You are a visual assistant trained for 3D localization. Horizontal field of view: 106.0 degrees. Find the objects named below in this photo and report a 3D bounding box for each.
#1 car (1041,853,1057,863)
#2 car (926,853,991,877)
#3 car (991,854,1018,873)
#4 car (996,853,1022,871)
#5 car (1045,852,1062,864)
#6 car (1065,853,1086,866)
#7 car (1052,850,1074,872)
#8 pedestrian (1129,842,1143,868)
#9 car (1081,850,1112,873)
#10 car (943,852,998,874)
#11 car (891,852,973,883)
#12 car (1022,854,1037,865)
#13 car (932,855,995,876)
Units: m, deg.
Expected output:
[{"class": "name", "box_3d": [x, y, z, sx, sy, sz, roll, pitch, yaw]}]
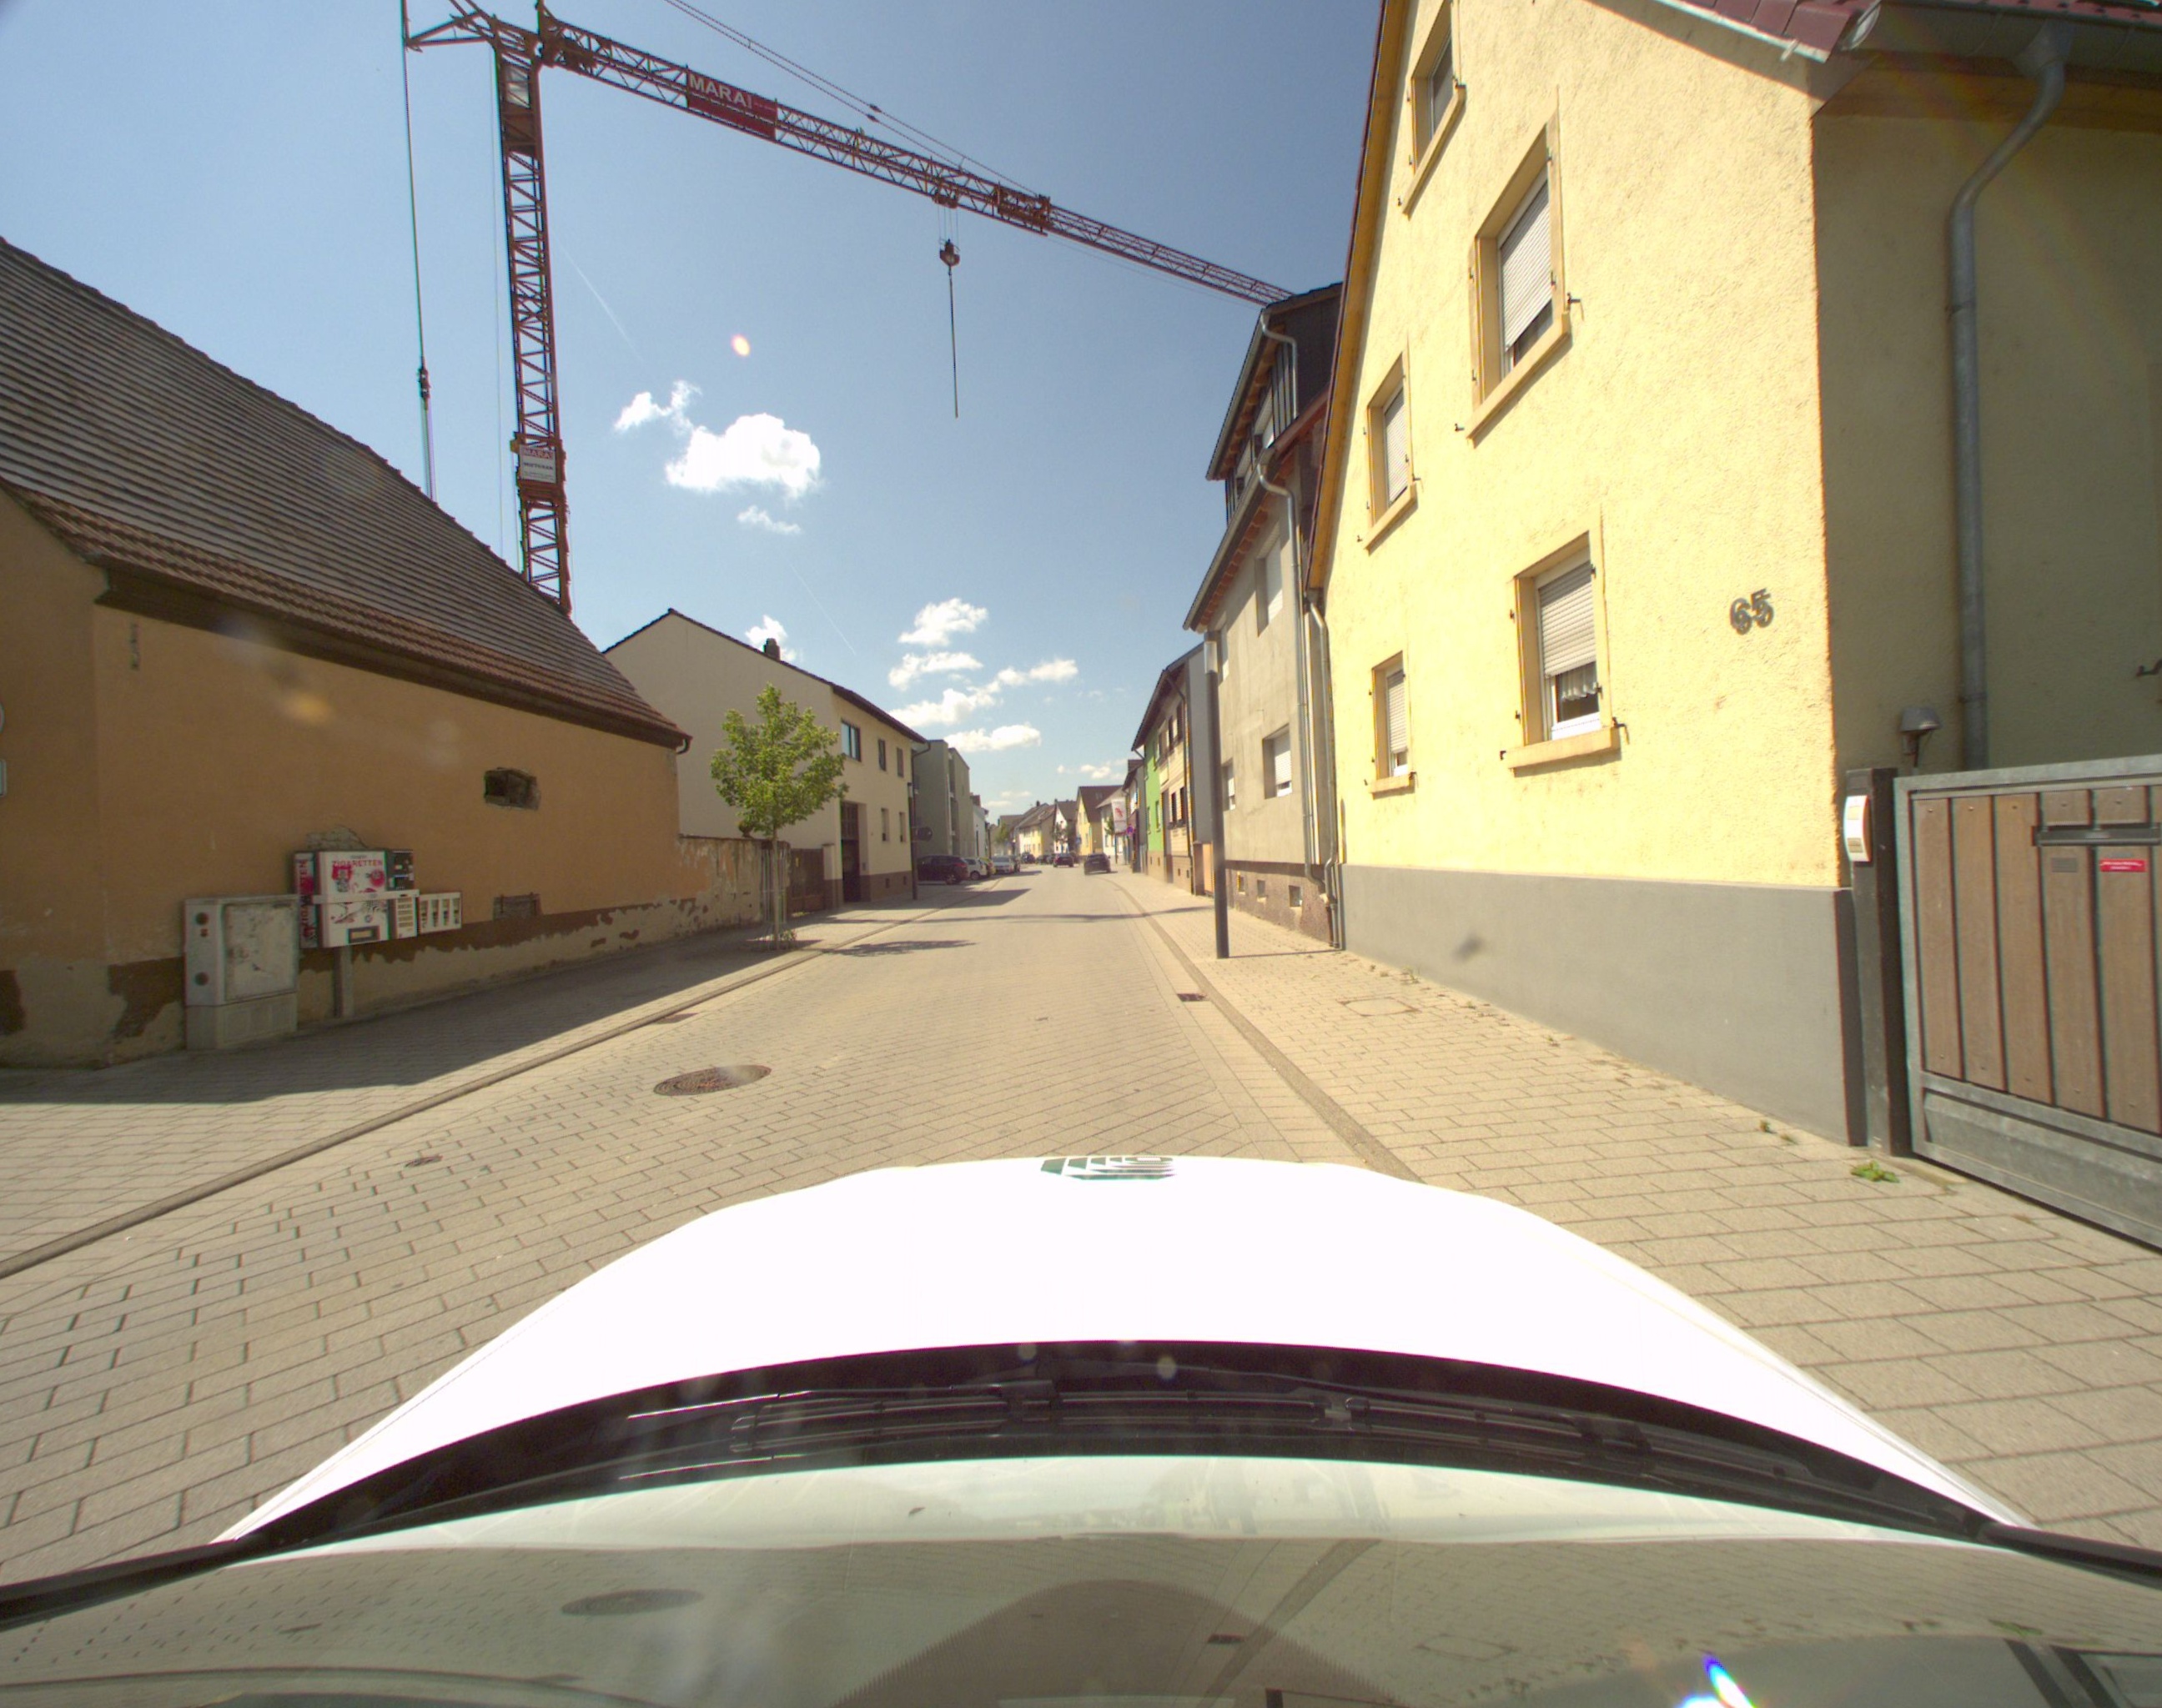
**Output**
[{"class": "car", "box_3d": [-4.835, 0.625, 121.594, 1.712, 1.387, 3.691, -3, 0, -11]}, {"class": "car", "box_3d": [-7.992, 0.721, 53.362, 3.886, 1.502, 1.751, 0, 0, 1]}, {"class": "car", "box_3d": [-6.206, 0.754, 66.660, 1.752, 1.411, 3.878, -1, 0, 1]}, {"class": "car", "box_3d": [-6.346, 0.711, 72.355, 1.807, 1.490, 4.278, -1, 0, 1]}, {"class": "car", "box_3d": [-3.878, 0.571, 114.121, 1.847, 1.562, 3.679, -3, 0, -11]}, {"class": "car", "box_3d": [-0.791, 0.733, 104.772, 1.830, 1.471, 4.259, -5, 0, -11]}, {"class": "car", "box_3d": [-1.840, 0.671, 81.728, 1.988, 2.057, 4.370, -3, 0, -2]}, {"class": "pedestrian", "box_3d": [3.597, 0.063, 53.393, 0.726, 1.640, 0.750, -5, 0, 4]}, {"class": "car", "box_3d": [1.145, 0.504, 57.468, 1.850, 1.459, 4.590, -4, 0, 3]}, {"class": "car", "box_3d": [-7.942, 0.646, 58.496, 3.679, 1.525, 1.673, 0, 0, 1]}, {"class": "car", "box_3d": [-8.283, 0.747, 45.493, 4.206, 1.658, 1.784, 0, 0, -1]}, {"class": "car", "box_3d": [-8.579, 0.905, 135.057, 1.878, 1.591, 3.984, -3, 0, -11]}, {"class": "car", "box_3d": [-7.979, 0.772, 55.519, 3.974, 1.441, 1.691, 0, 0, 0]}]
